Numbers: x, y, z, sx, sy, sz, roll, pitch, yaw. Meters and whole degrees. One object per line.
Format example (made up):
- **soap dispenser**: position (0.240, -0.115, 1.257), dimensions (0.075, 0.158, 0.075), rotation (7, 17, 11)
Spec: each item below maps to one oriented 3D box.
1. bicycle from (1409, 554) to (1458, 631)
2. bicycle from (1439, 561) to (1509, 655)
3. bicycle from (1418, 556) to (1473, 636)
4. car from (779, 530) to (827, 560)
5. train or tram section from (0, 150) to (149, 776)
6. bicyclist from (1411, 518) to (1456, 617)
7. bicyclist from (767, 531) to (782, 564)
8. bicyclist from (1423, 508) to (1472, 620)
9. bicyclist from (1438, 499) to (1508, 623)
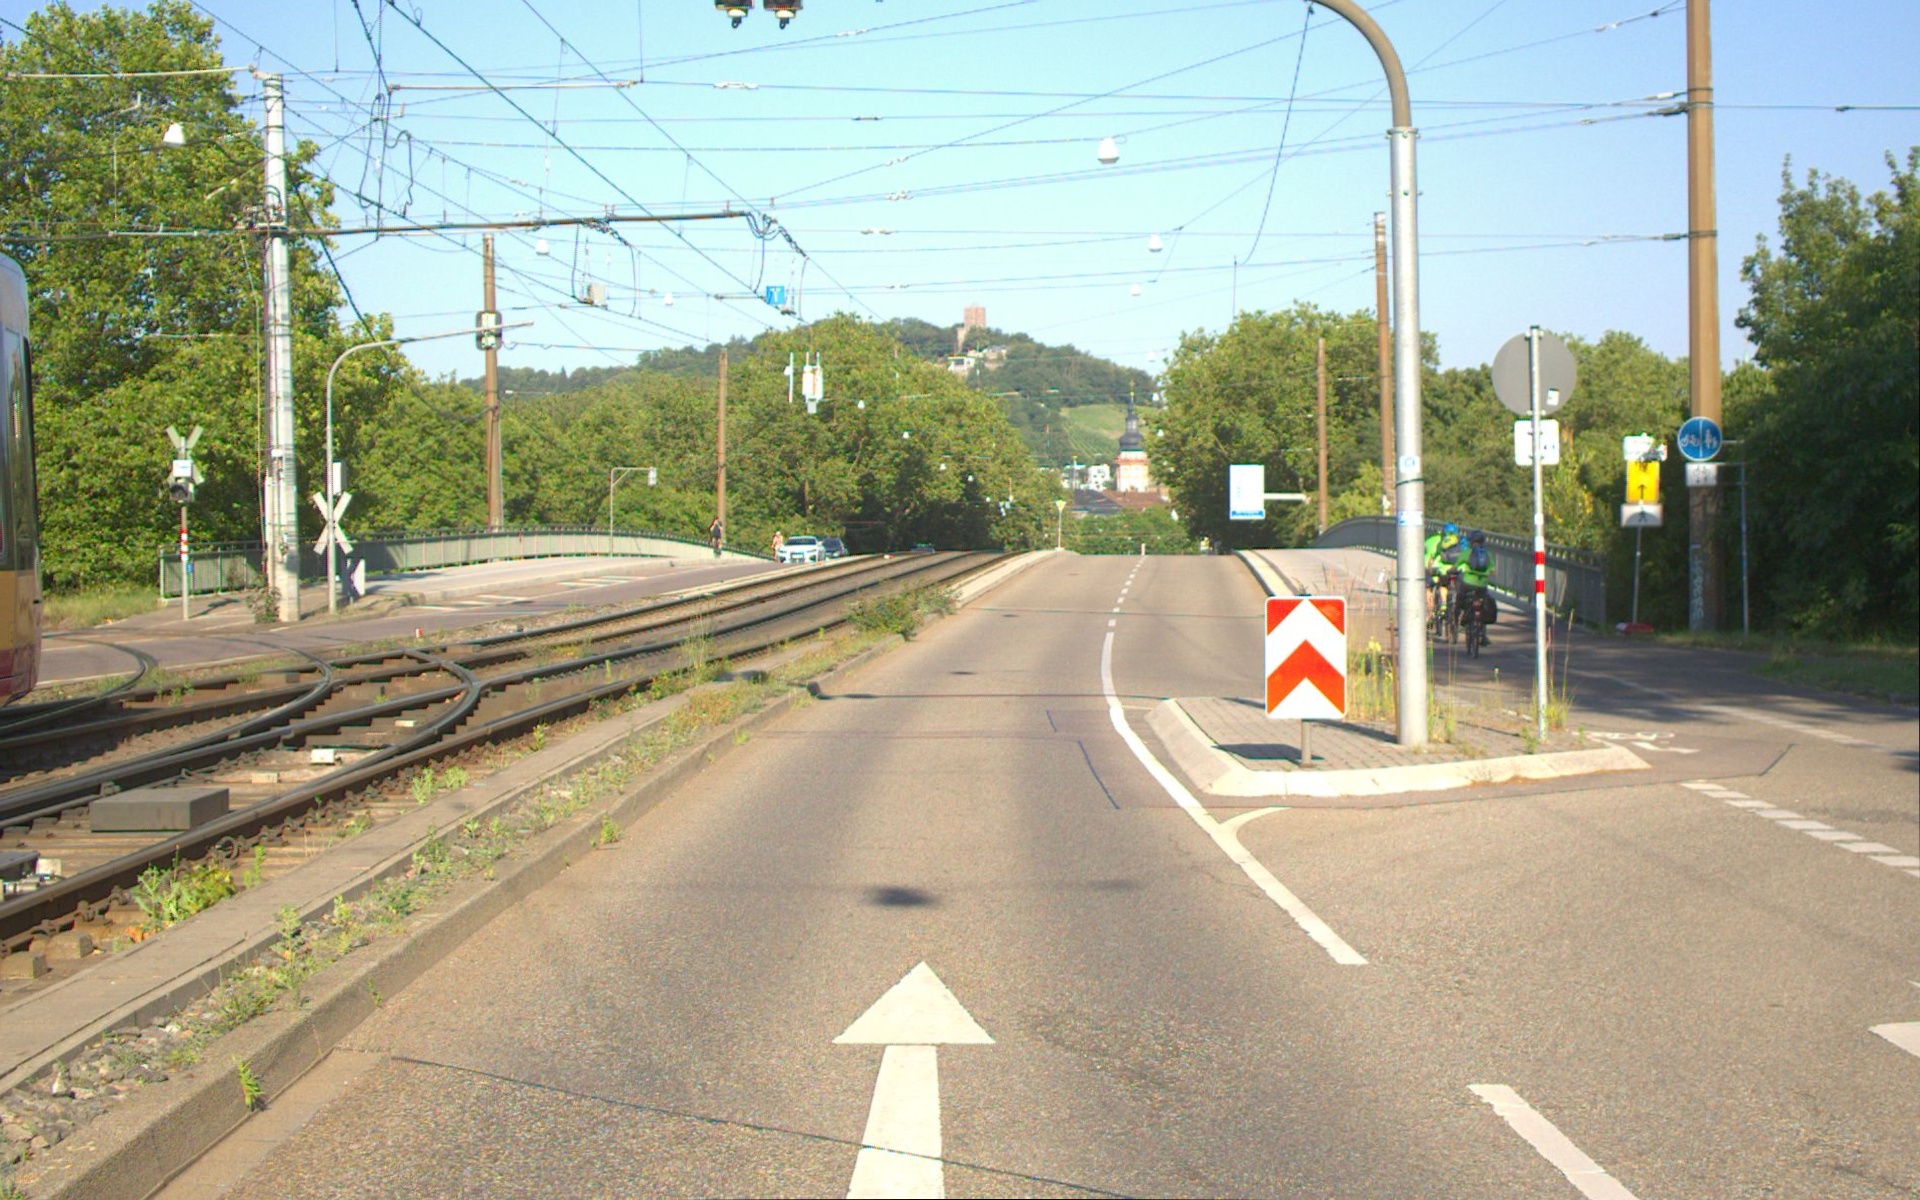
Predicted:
- **bicycle**: position (7.248, -0.128, 52.650), dimensions (0.625, 1.118, 2.259), rotation (0, 1, 5)
- **bicycle**: position (6.602, 0.084, 44.237), dimensions (0.683, 1.118, 2.216), rotation (0, 2, 3)
- **bicycle**: position (6.989, -0.074, 49.570), dimensions (0.625, 1.118, 2.042), rotation (0, 1, 3)
- **car**: position (-7.155, -2.505, 157.156), dimensions (1.684, 1.351, 4.920), rotation (0, 1, 4)
- **train or tram section**: position (-7.442, -0.802, 18.884), dimensions (2.978, 3.887, 12.702), rotation (0, 1, 0)
- **bicyclist**: position (7.252, -0.509, 52.680), dimensions (0.625, 1.503, 1.006), rotation (0, 1, 5)
- **bicyclist**: position (-9.400, -2.657, 173.990), dimensions (0.625, 1.627, 0.935), rotation (0, 1, 7)
- **bicyclist**: position (7.027, -0.522, 49.578), dimensions (0.625, 1.587, 0.931), rotation (0, 1, 3)
- **bicyclist**: position (6.591, -0.510, 44.198), dimensions (0.812, 1.557, 0.896), rotation (0, 2, 3)
